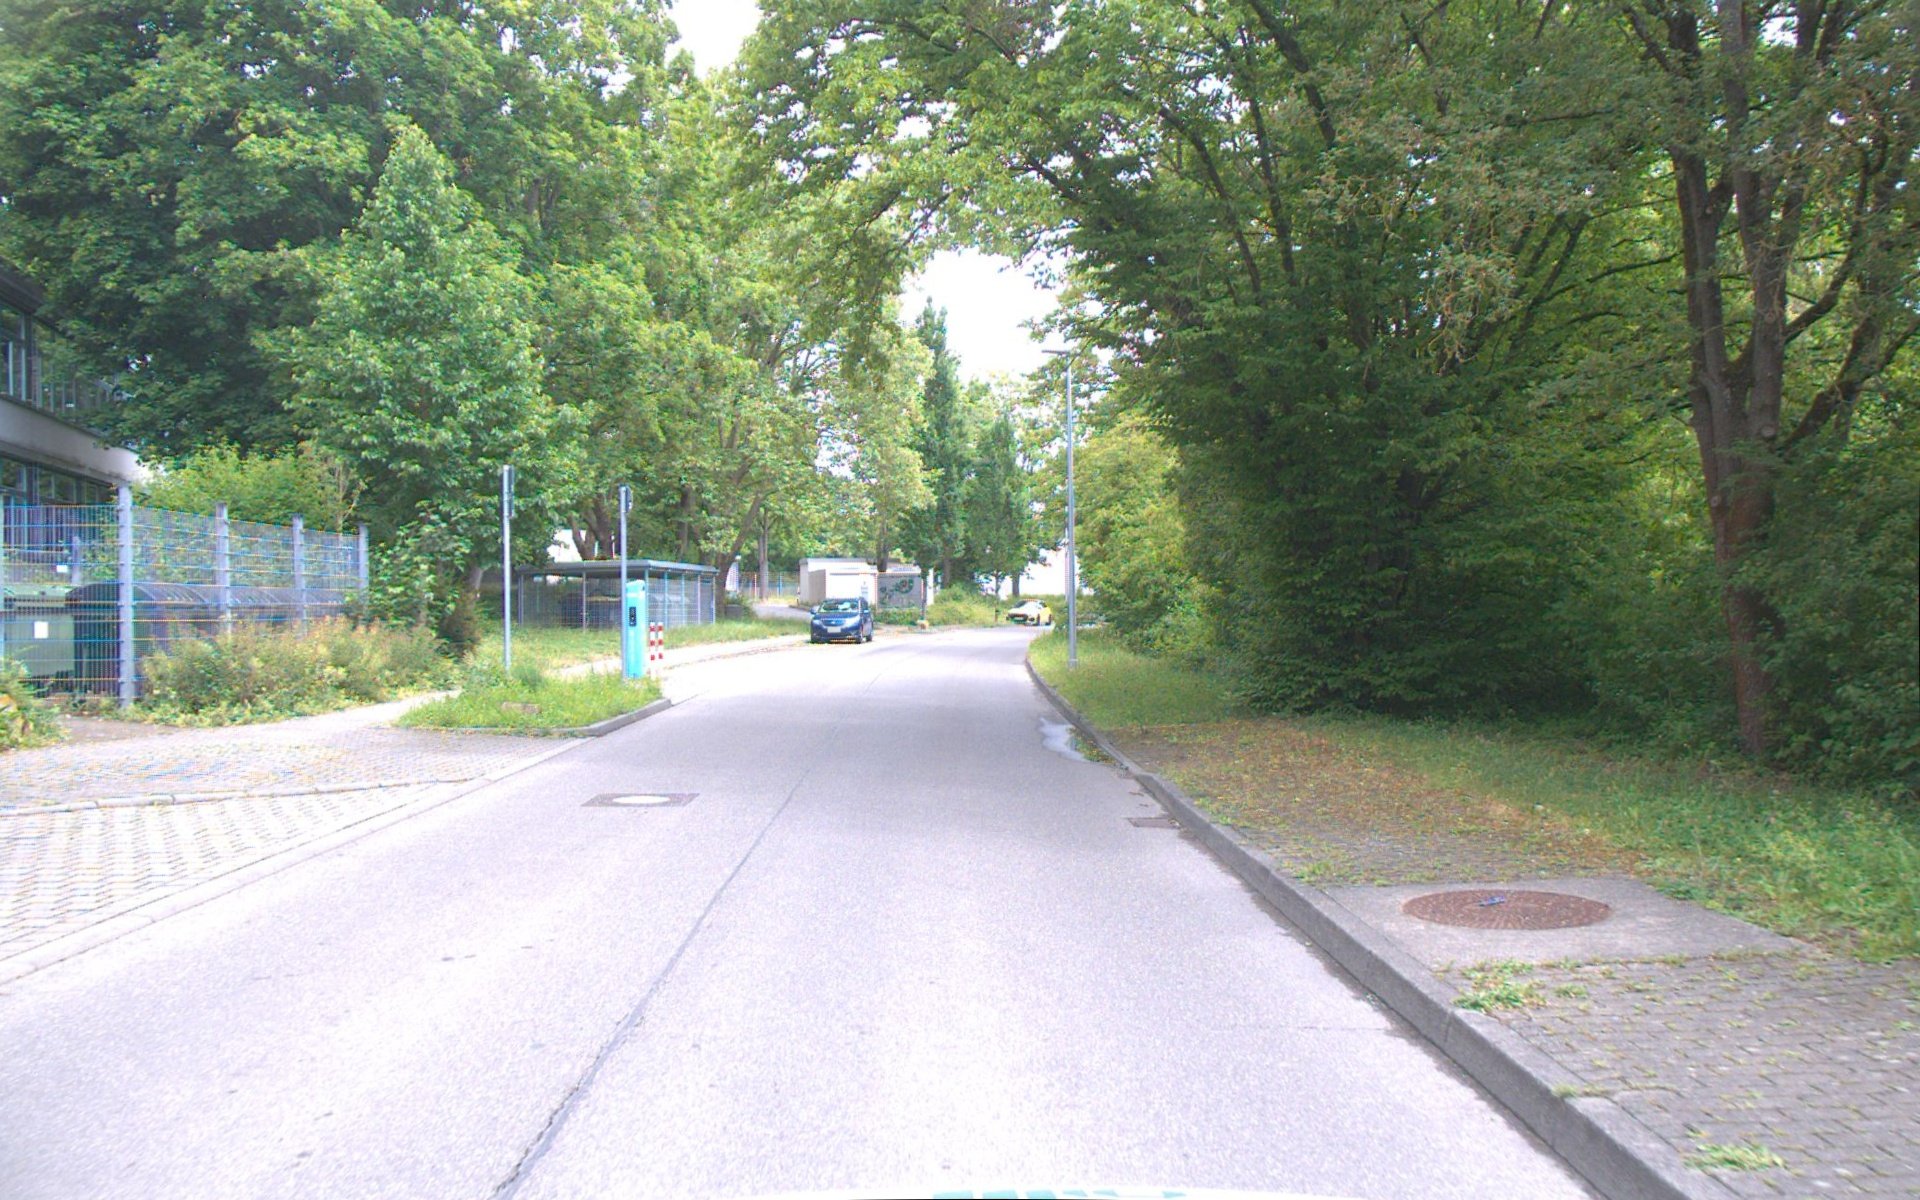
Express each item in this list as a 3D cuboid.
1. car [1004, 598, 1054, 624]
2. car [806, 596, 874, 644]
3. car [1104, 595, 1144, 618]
[{"bbox_3d":[3.899,0.623,93.261,1.664,1.427,4.274,1,-1,19],"label":"car"},{"bbox_3d":[-3.994,0.656,55.676,1.644,1.538,4.433,0,0,4],"label":"car"},{"bbox_3d":[10.917,0.425,109.998,1.503,1.484,3.717,0,0,25],"label":"car"}]
